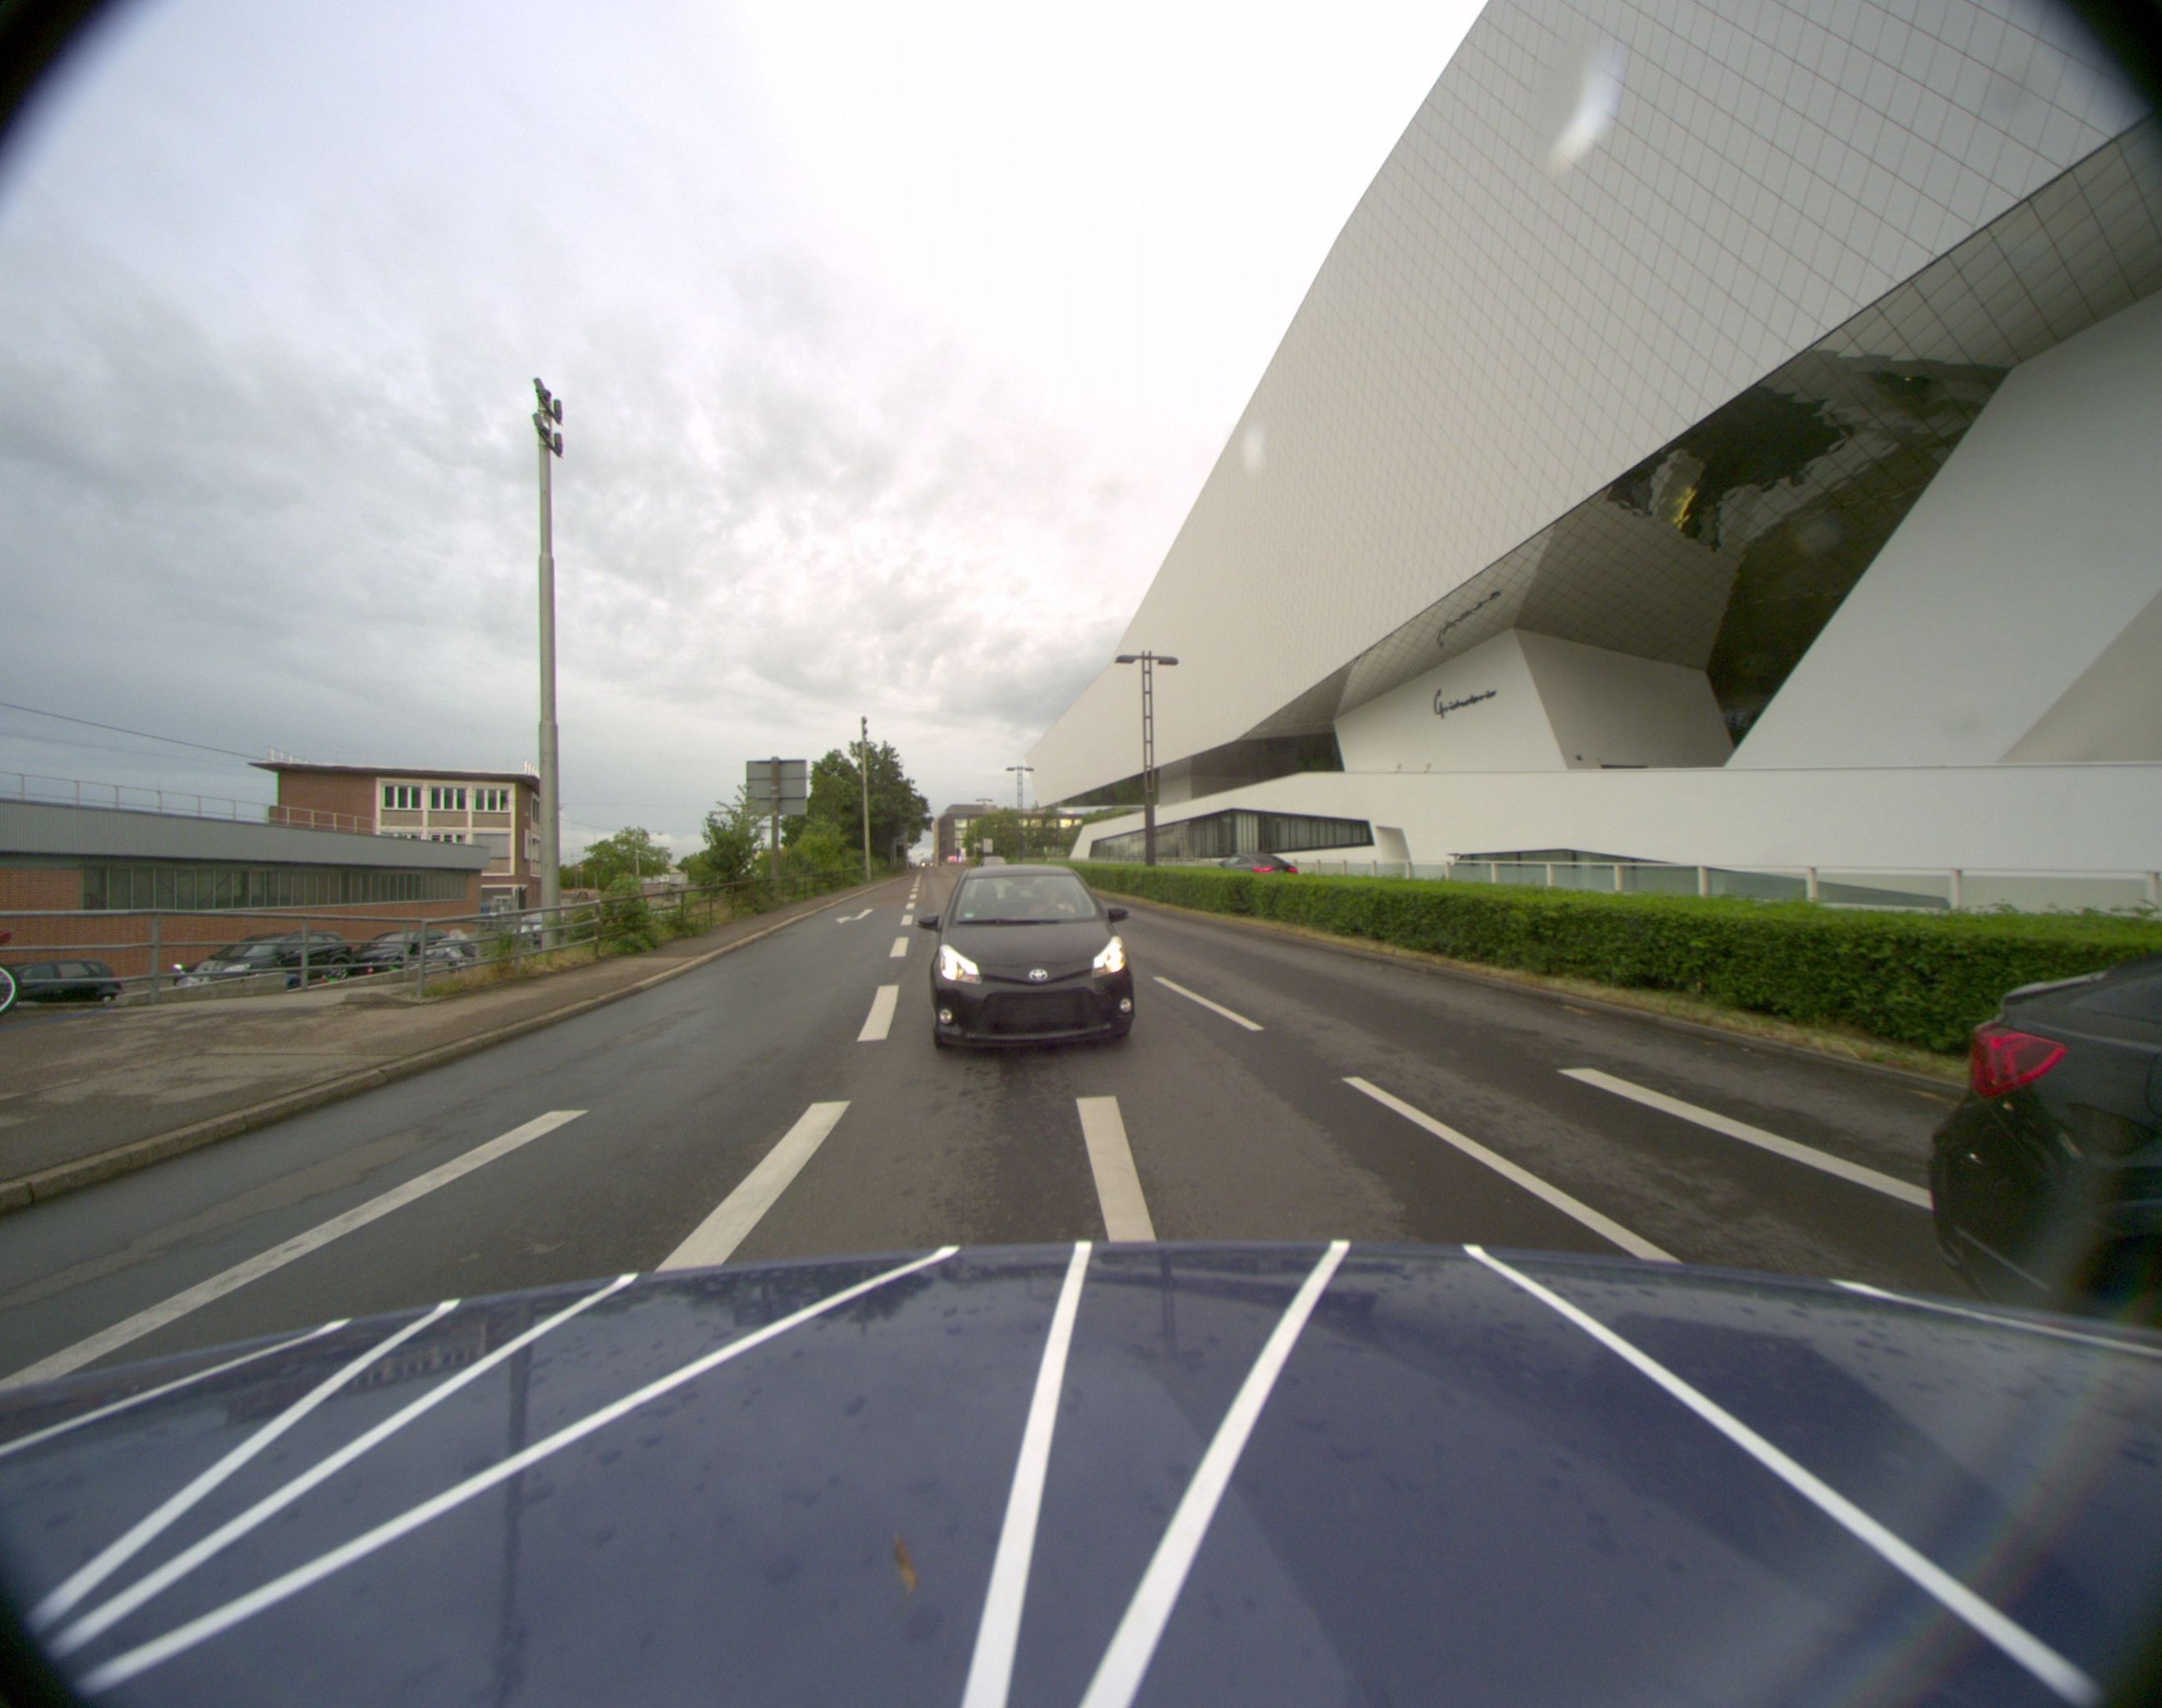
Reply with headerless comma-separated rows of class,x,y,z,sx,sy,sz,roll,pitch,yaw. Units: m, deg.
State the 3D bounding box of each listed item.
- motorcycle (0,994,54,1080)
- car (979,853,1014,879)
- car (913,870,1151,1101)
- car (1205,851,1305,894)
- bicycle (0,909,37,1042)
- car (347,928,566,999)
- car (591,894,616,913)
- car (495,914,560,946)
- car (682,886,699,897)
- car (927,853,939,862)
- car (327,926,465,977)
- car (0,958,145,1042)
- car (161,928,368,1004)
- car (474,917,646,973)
motorcycle,-13.218,2.199,8.751,1.618,0.916,0.420,-3,1,-24
car,-5.599,0.756,50.013,1.819,1.430,4.296,-2,2,-12
car,-0.623,0.991,7.553,1.695,1.498,4.008,-2,1,-8
car,6.015,0.597,26.718,1.726,1.330,3.994,-2,1,-15
bicycle,-10.387,1.092,6.572,1.547,1.148,0.450,0,2,-27
car,-14.987,2.616,18.357,3.995,1.417,1.722,-2,-1,5
car,-42.049,4.342,66.922,1.723,1.417,3.991,-1,-1,-30
car,-30.115,4.080,41.429,1.735,1.380,3.994,-2,-1,-19
car,-55.352,5.330,107.708,1.724,1.417,3.991,-1,-1,-34
car,-24.408,0.569,125.224,1.751,1.466,4.063,-2,1,-15
car,-25.689,3.603,28.730,1.720,1.396,4.273,-2,-1,-7
car,-23.221,3.202,16.306,1.721,1.417,3.997,-2,-1,-10
car,-24.444,3.266,23.048,1.784,1.657,4.503,-2,-1,-7
car,-15.456,2.686,22.641,3.995,1.417,1.722,-2,-1,5
